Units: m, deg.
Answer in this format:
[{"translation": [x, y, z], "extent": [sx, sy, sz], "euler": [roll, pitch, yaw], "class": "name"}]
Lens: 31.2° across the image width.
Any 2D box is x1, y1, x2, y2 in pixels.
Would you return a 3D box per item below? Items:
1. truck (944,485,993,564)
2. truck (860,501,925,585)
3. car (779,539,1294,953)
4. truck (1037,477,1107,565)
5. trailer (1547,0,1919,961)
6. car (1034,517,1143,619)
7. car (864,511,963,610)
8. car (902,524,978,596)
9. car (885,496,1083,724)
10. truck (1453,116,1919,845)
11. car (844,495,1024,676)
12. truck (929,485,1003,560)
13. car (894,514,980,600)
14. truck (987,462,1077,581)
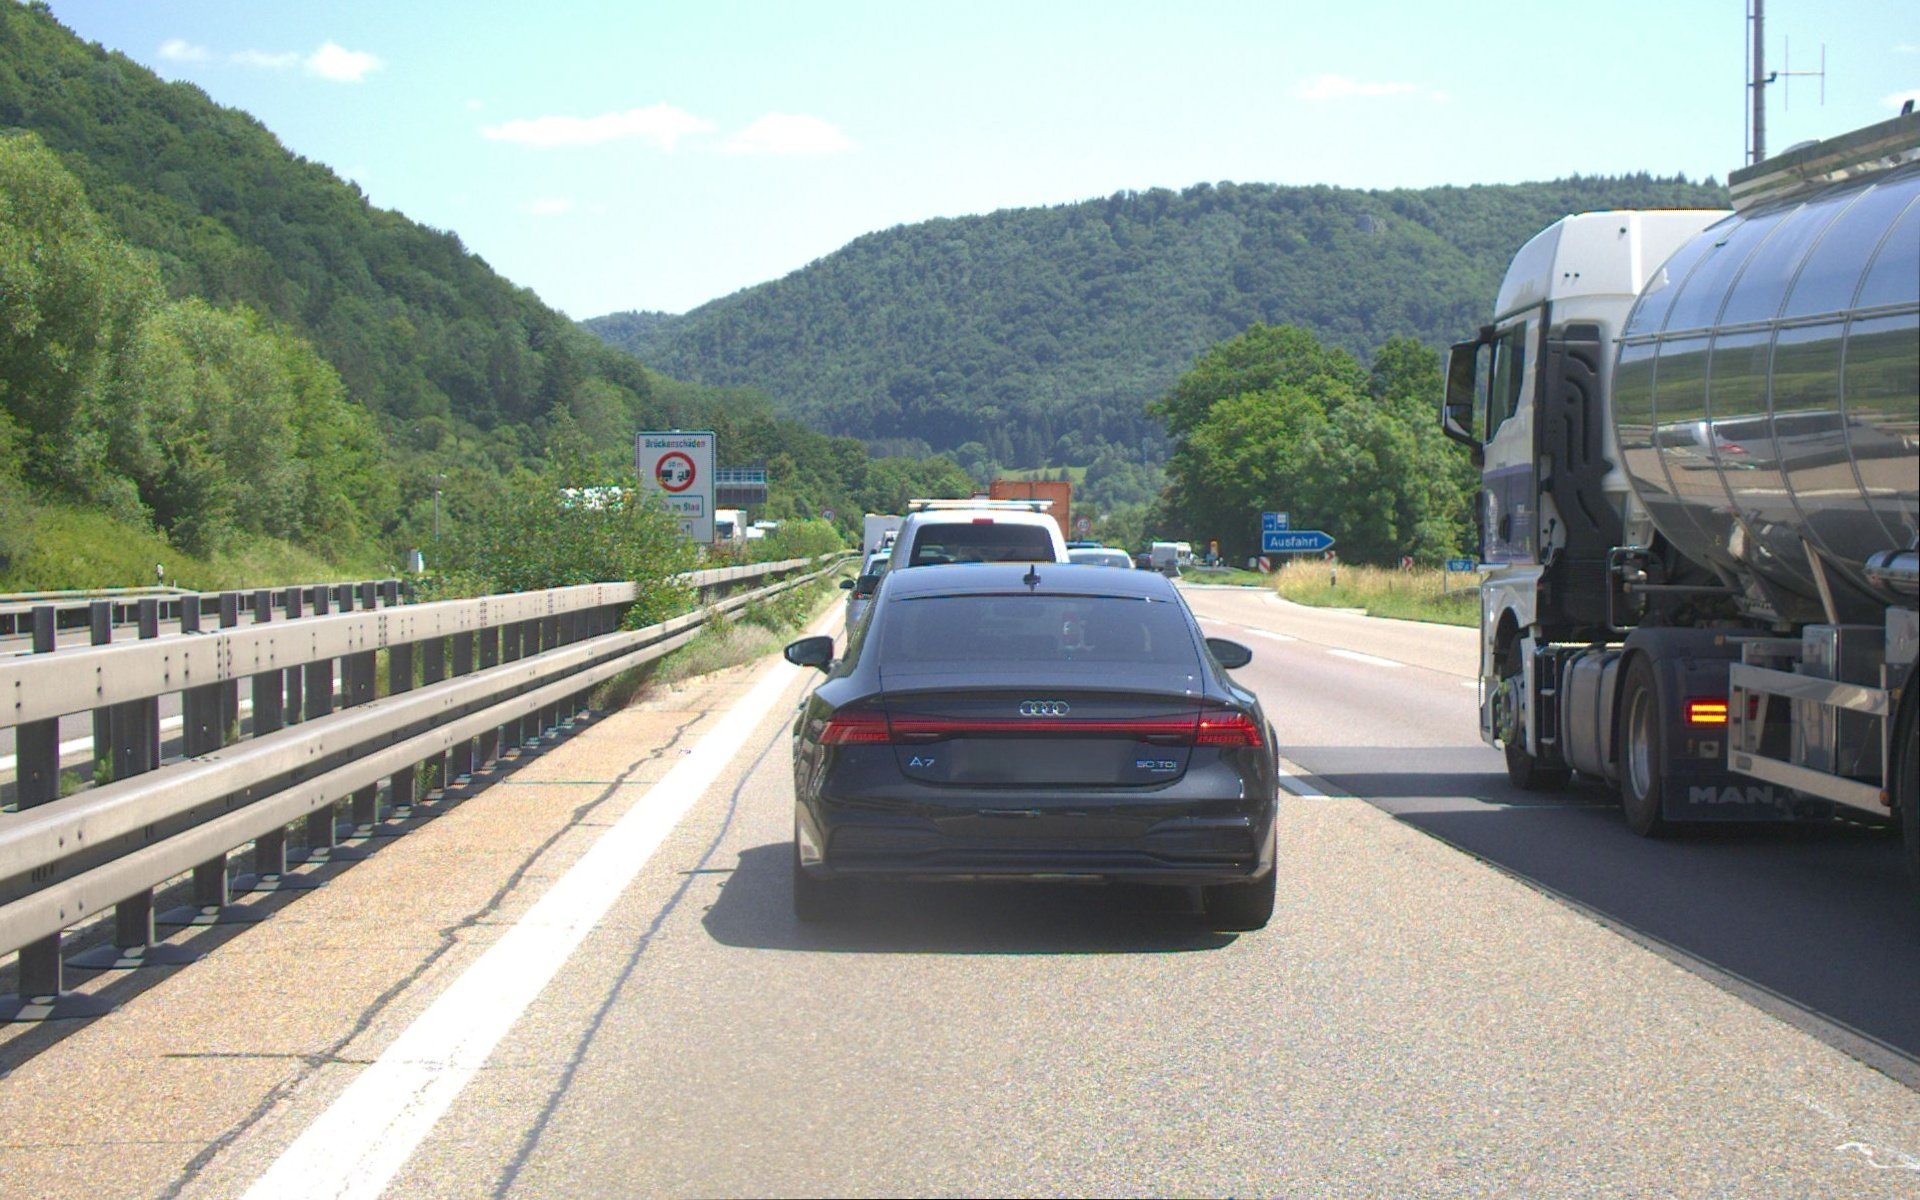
[{"translation": [0.344, -3.377, 155.378], "extent": [1.993, 3.435, 11.812], "euler": [0, 1, -1], "class": "truck"}, {"translation": [-2.823, -2.444, 147.484], "extent": [2.628, 3.429, 11.421], "euler": [0, 1, 0], "class": "truck"}, {"translation": [0.231, 0.494, 14.452], "extent": [1.849, 1.483, 4.083], "euler": [0, 1, -1], "class": "car"}, {"translation": [5.319, -3.756, 165.400], "extent": [2.817, 3.989, 14.956], "euler": [0, 1, 0], "class": "truck"}, {"translation": [4.804, -0.537, 13.726], "extent": [2.538, 3.722, 11.893], "euler": [0, 1, -2], "class": "trailer"}, {"translation": [2.588, -0.664, 69.870], "extent": [1.993, 2.007, 4.000], "euler": [0, 1, -1], "class": "car"}, {"translation": [-1.000, -0.852, 72.389], "extent": [1.993, 2.007, 4.000], "euler": [0, 1, -1], "class": "car"}, {"translation": [-0.446, -0.943, 79.530], "extent": [1.712, 1.613, 4.000], "euler": [0, 1, 0], "class": "car"}, {"translation": [0.156, 0.042, 29.695], "extent": [1.575, 1.827, 4.000], "euler": [0, 1, -1], "class": "car"}, {"translation": [4.636, -0.655, 20.345], "extent": [2.511, 3.745, 5.246], "euler": [0, 1, -2], "class": "truck"}, {"translation": [-0.327, -0.195, 40.411], "extent": [1.993, 2.007, 4.000], "euler": [0, 1, -1], "class": "car"}, {"translation": [0.451, -4.736, 210.740], "extent": [3.794, 4.399, 14.954], "euler": [-1, 1, 3], "class": "truck"}, {"translation": [-0.571, -1.057, 83.058], "extent": [1.993, 2.007, 4.000], "euler": [0, 1, -1], "class": "car"}, {"translation": [2.478, -2.760, 122.453], "extent": [2.817, 3.989, 14.956], "euler": [0, 1, 0], "class": "truck"}]
